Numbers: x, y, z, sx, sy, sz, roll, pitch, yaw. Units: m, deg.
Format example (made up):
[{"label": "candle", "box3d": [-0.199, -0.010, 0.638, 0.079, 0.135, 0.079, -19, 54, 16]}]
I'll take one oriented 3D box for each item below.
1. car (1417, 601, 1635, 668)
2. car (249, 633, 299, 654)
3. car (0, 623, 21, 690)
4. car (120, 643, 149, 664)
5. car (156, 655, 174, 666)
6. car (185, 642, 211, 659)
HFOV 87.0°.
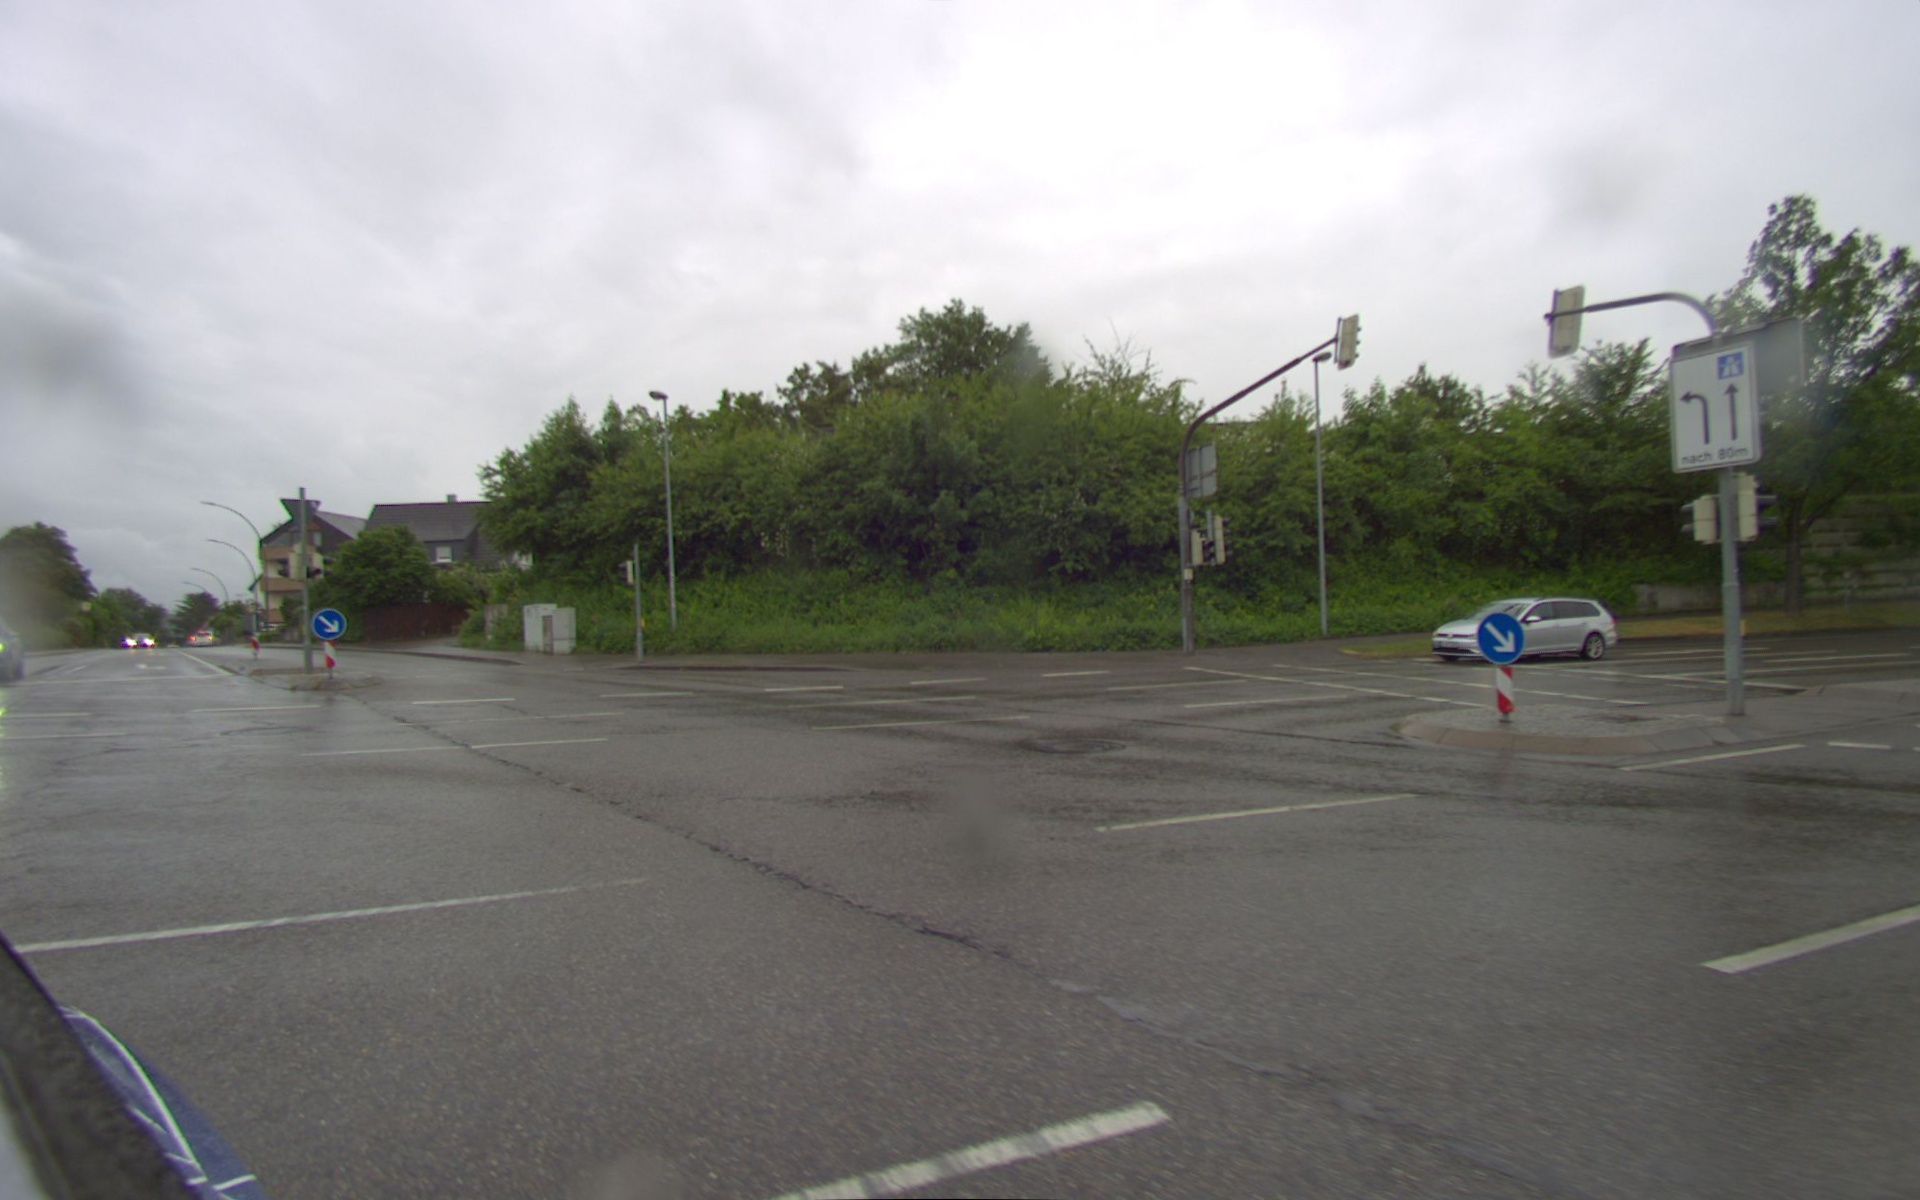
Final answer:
[{"label": "car", "box3d": [13.039, 0.762, 23.343, 4.455, 1.373, 1.768, -1, 0, -17]}, {"label": "car", "box3d": [-57.076, 3.588, 84.262, 1.642, 1.558, 4.002, -1, 0, -3]}, {"label": "car", "box3d": [-23.552, 1.352, 23.807, 1.870, 1.494, 4.007, -1, -2, -39]}, {"label": "car", "box3d": [-71.244, 4.593, 87.286, 1.732, 1.568, 3.924, -1, -1, -42]}, {"label": "car", "box3d": [-113.300, 8.606, 144.189, 1.645, 1.516, 4.326, -1, -1, -43]}, {"label": "car", "box3d": [-70.635, 4.625, 93.786, 1.601, 1.516, 3.827, 1, -2, -42]}]
